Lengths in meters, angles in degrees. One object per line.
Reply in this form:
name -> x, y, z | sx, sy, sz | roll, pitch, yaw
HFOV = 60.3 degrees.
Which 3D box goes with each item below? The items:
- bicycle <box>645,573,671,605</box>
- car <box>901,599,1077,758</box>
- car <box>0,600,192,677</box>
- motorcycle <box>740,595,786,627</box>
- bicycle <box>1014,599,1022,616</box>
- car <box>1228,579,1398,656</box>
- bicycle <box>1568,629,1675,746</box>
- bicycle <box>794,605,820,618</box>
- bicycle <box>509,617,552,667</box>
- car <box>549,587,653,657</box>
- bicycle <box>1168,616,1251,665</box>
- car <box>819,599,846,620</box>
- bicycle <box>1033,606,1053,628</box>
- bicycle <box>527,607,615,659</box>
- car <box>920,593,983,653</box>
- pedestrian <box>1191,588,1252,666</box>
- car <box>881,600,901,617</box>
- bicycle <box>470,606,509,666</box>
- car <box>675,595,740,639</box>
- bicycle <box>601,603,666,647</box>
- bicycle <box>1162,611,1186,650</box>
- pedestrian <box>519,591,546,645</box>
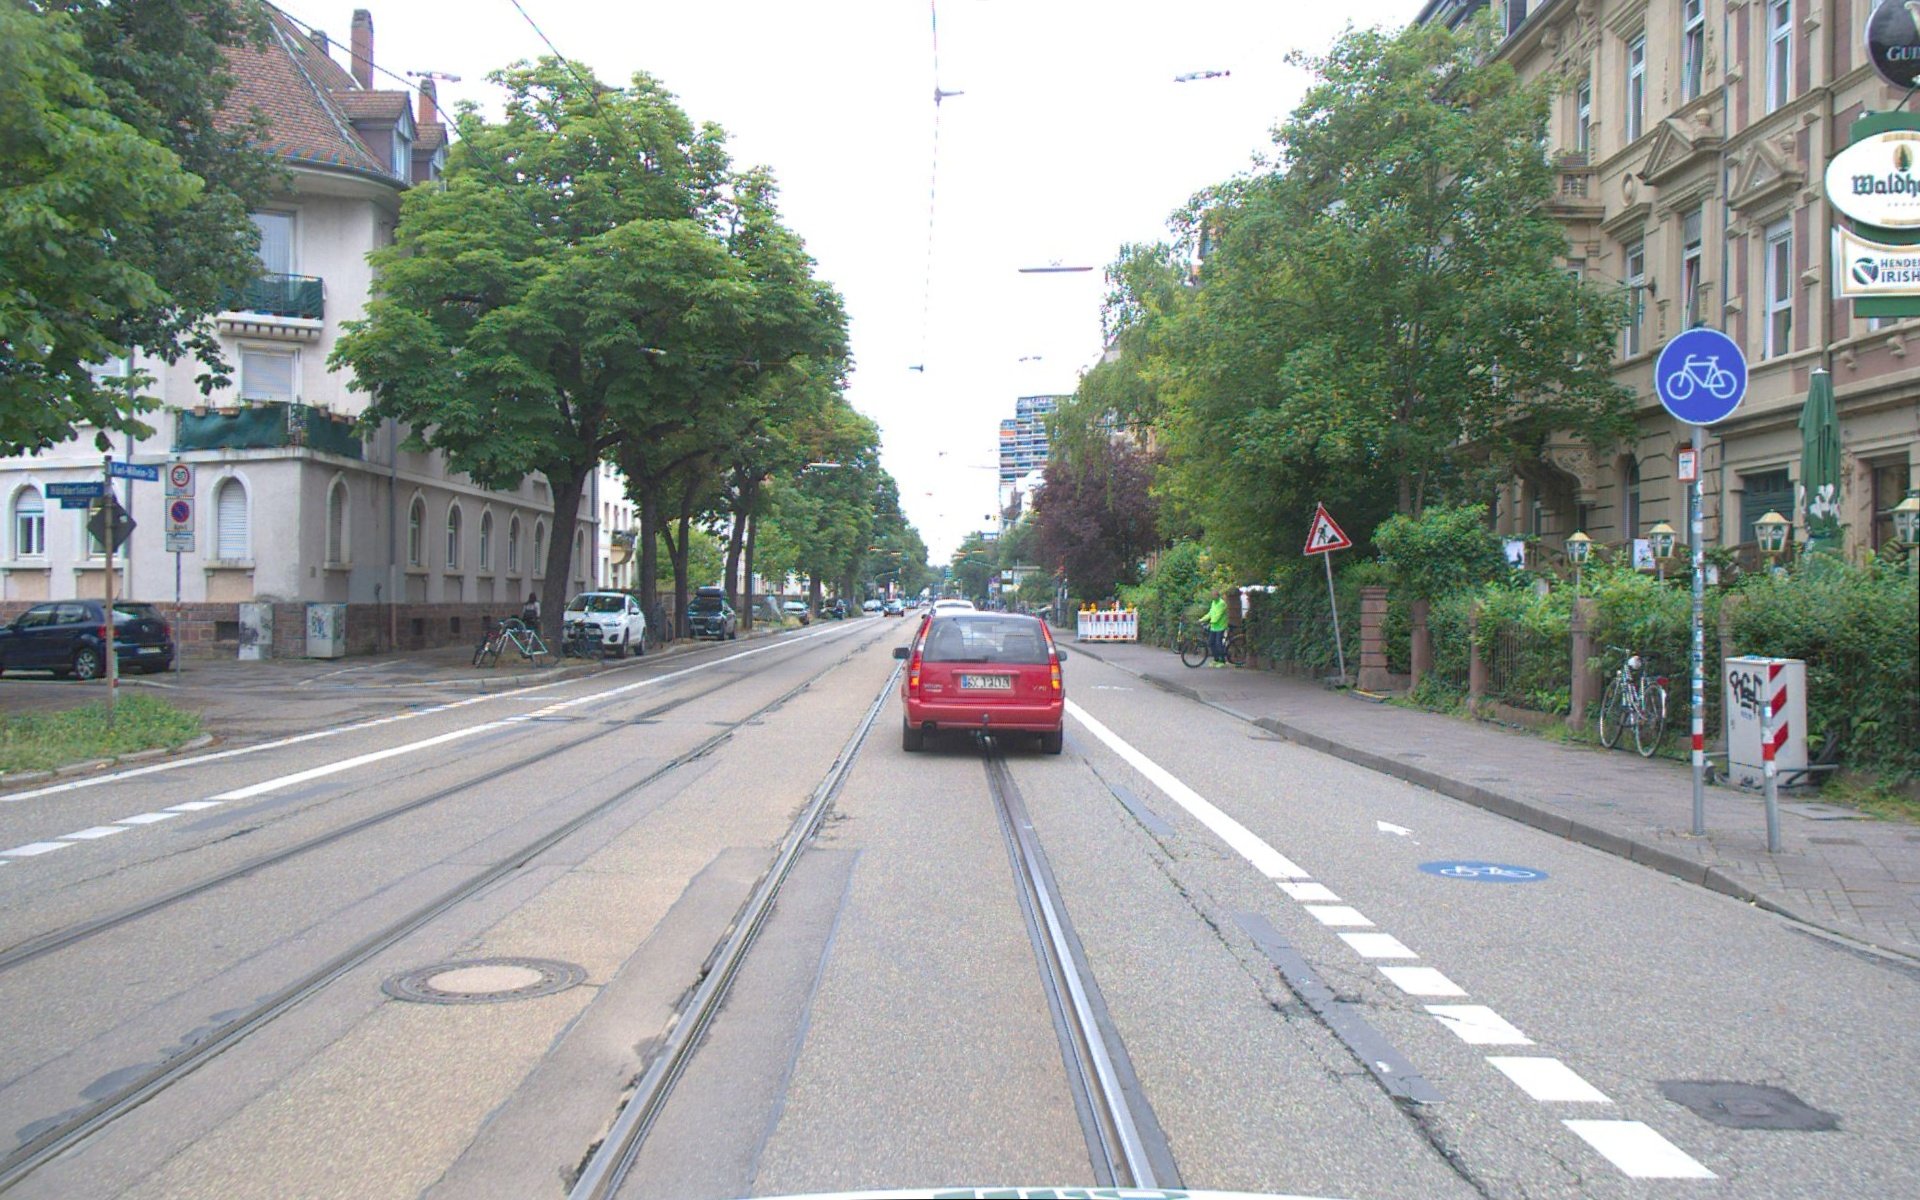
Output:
bicycle -> -13.412, -0.476, 73.493 | 0.776, 1.406, 2.140 | 0, 0, -1
car -> 0.251, 0.756, 17.747 | 1.655, 1.466, 3.742 | 2, 0, -1
car -> -16.361, 0.682, 30.758 | 3.673, 1.330, 1.741 | 0, 0, 22
motorcycle -> -9.960, 0.548, 83.669 | 2.225, 1.538, 0.924 | 0, -2, 35
bicycle -> 4.898, 0.641, 139.959 | 0.540, 1.424, 1.733 | 0, 0, 0
car -> 8.872, 0.427, 41.830 | 3.905, 1.891, 1.809 | 0, 0, -1
bicycle -> 6.515, 0.832, 16.367 | 0.295, 1.060, 1.848 | 0, 0, -1
bicycle -> -10.504, 0.801, 113.927 | 1.713, 0.858, 0.684 | 1, 0, 0
bicycle -> -8.711, 0.840, 33.586 | 0.473, 0.975, 1.398 | 0, 0, 1
car -> -9.209, 0.541, 42.780 | 1.859, 1.684, 4.224 | 1, 0, -2
bicycle -> 5.754, 0.938, 38.153 | 1.804, 1.094, 0.606 | 0, 0, -2
car -> -9.939, 0.696, 128.723 | 1.813, 1.590, 3.942 | 1, 0, -1
bicycle -> 5.986, 1.209, 119.596 | 0.898, 1.533, 2.382 | 1, 0, 16
bicycle -> -9.109, 0.770, 38.782 | 1.883, 1.140, 0.624 | 2, 0, -1
car -> -0.195, 0.633, 47.530 | 1.683, 1.653, 3.941 | 1, 0, 1
pedestrian -> 5.971, 0.614, 37.851 | 1.204, 1.763, 1.018 | 0, 0, -2
car -> -6.125, 0.737, 146.655 | 1.720, 1.404, 4.025 | 0, 0, -2
bicycle -> -9.752, 0.719, 34.278 | 0.664, 1.155, 1.925 | 0, 1, -19
car -> -9.418, 0.607, 61.993 | 1.741, 1.537, 4.237 | 1, 0, 0
bicycle -> -9.522, 0.721, 48.210 | 1.706, 1.213, 0.653 | 2, 0, 14
bicycle -> 6.083, 0.862, 47.038 | 0.469, 1.063, 1.531 | 0, 0, 0
pedestrian -> -11.987, 0.497, 46.402 | 0.553, 1.493, 0.722 | 0, 0, -1
